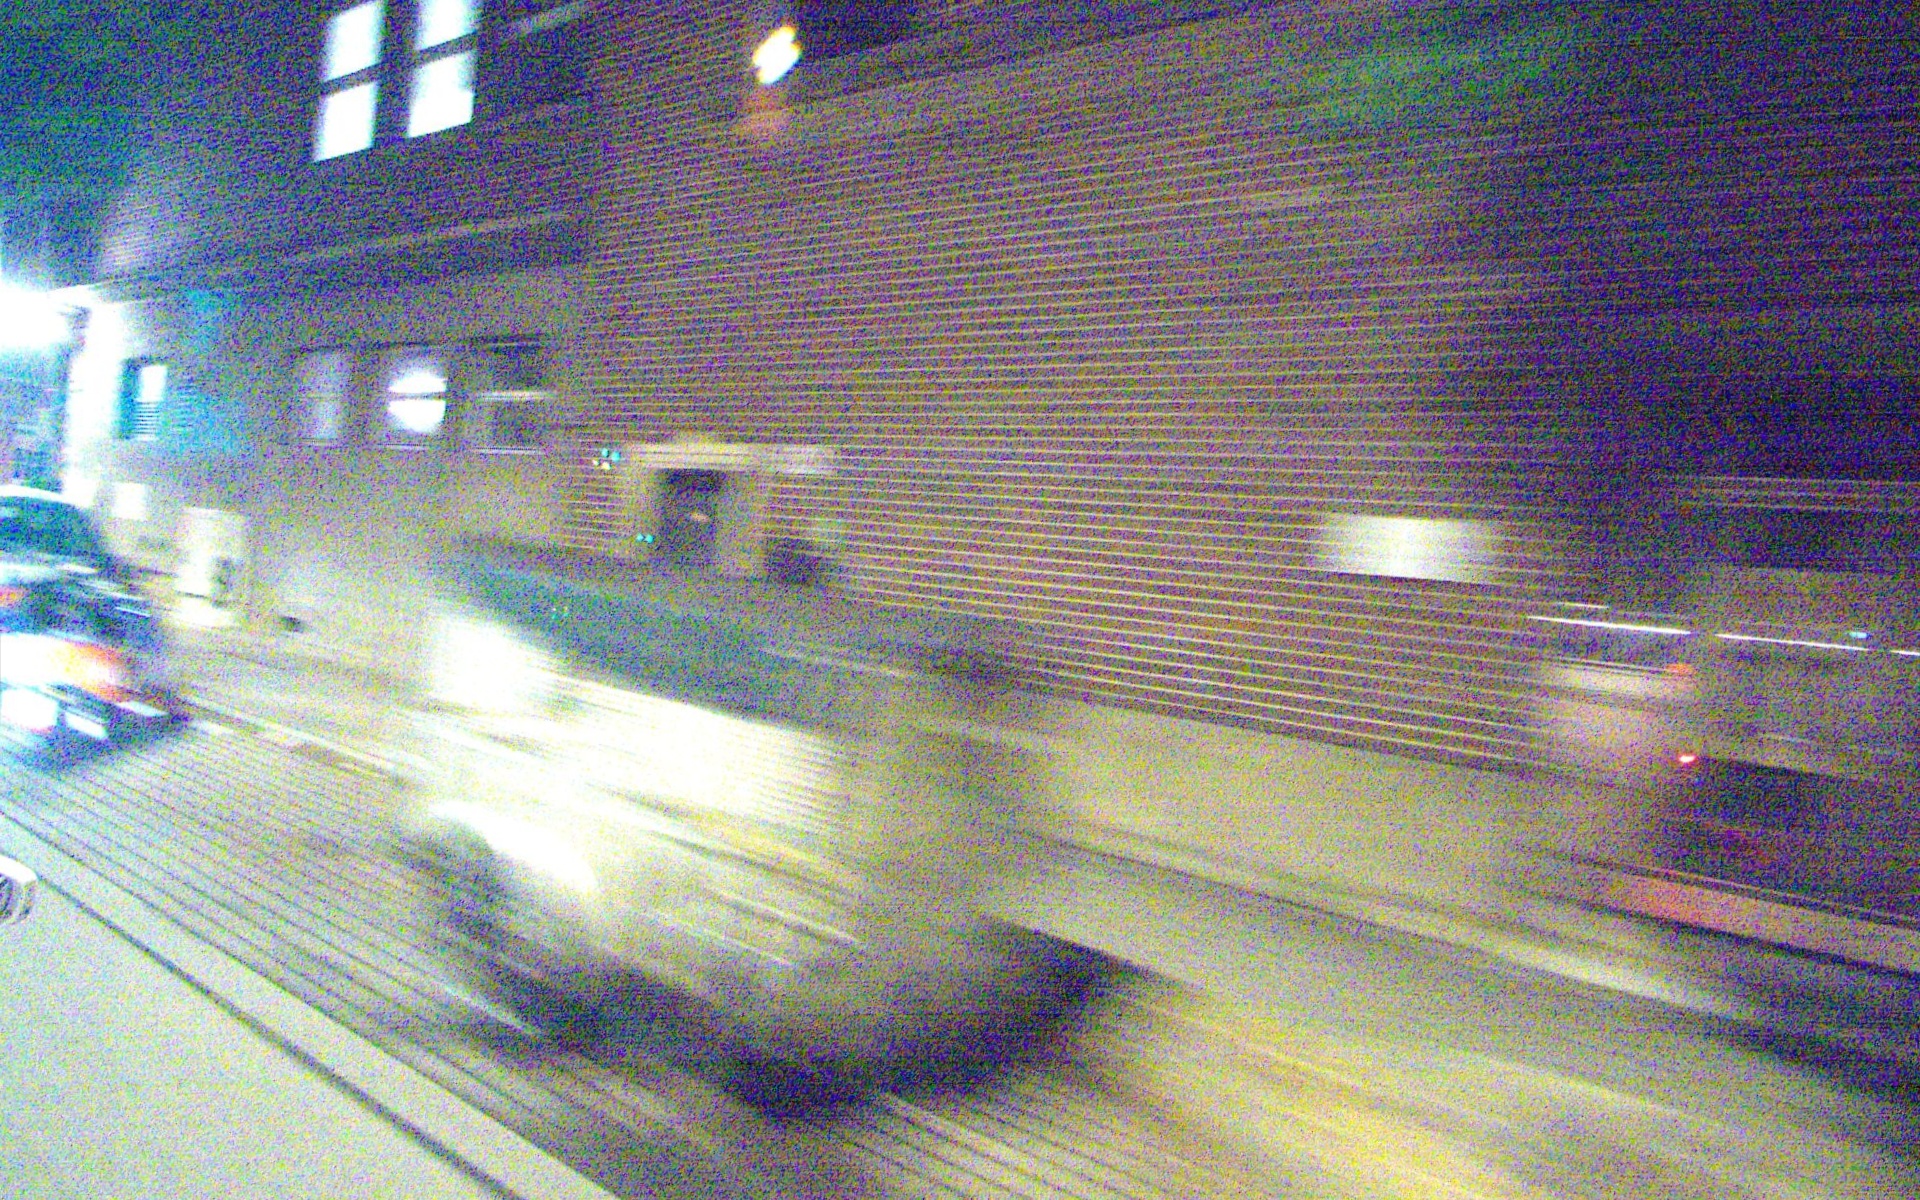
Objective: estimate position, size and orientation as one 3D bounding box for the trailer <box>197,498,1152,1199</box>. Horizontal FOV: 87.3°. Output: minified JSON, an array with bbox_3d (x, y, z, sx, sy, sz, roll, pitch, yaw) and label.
[{"bbox_3d":[-1.342,0.548,3.989,3.676,1.513,1.601,7,0,36],"label":"trailer"}]

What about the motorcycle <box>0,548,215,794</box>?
[{"bbox_3d":[-5.176,0.319,5.902,0.719,1.144,2.215,7,0,-24],"label":"motorcycle"}]

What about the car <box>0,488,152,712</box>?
[{"bbox_3d":[-7.868,-0.182,7.662,3.736,1.479,1.587,7,0,35],"label":"car"}]
